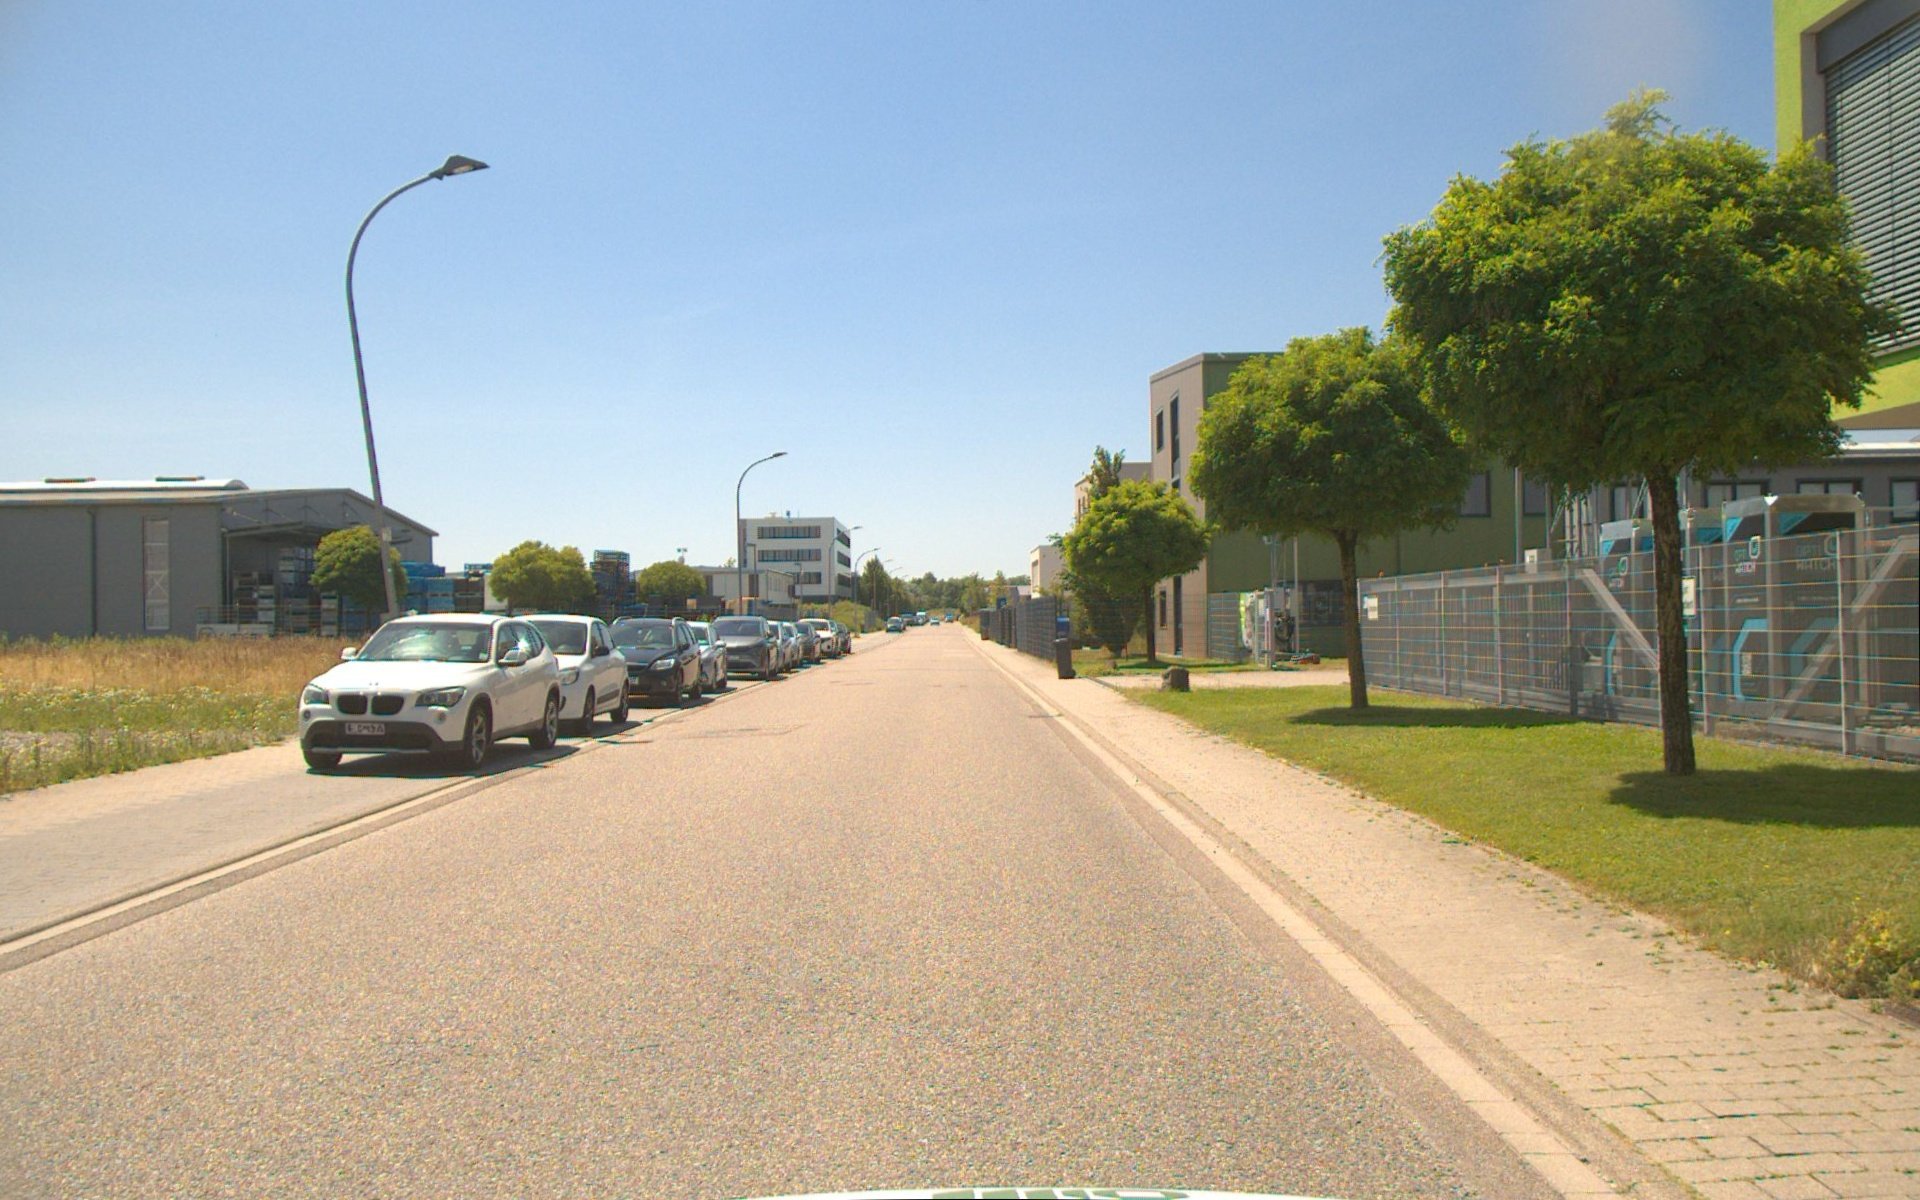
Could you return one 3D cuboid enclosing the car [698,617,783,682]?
[{"bbox_3d":[-5.756,1.268,43.818,1.754,1.635,4.461,0,-1,-1],"label":"car"}]

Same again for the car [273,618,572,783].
[{"bbox_3d":[-5.656,0.984,18.002,1.750,1.569,4.365,0,-1,1],"label":"car"}]

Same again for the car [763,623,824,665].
[{"bbox_3d":[-6.051,1.585,60.447,1.819,1.507,4.228,0,-1,-1],"label":"car"}]

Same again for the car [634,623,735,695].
[{"bbox_3d":[-5.946,1.242,36.098,1.728,1.476,4.197,0,-1,-3],"label":"car"}]

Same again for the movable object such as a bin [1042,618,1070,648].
[{"bbox_3d":[4.955,1.718,85.385,1.307,1.485,0.948,-2,-1,-1],"label":"movable object such as a bin"}]

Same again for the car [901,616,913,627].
[{"bbox_3d":[-7.356,3.006,230.060,1.611,1.516,3.207,-1,-1,0],"label":"car"}]

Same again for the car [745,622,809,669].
[{"bbox_3d":[-6.091,1.481,55.498,1.739,1.507,4.814,0,-1,-1],"label":"car"}]

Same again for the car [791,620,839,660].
[{"bbox_3d":[-6.022,1.663,69.147,1.733,1.620,4.358,0,-1,-2],"label":"car"}]

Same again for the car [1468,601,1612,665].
[{"bbox_3d":[14.443,0.779,41.494,1.953,1.464,4.611,-1,0,0],"label":"car"}]

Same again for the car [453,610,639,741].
[{"bbox_3d":[-5.717,0.995,23.256,1.751,1.685,3.767,0,-1,-2],"label":"car"}]

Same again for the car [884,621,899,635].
[{"bbox_3d":[-7.210,2.948,175.080,1.437,1.516,3.207,-1,-1,0],"label":"car"}]

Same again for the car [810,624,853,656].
[{"bbox_3d":[-6.211,1.915,80.313,1.733,1.487,4.332,0,-1,-1],"label":"car"}]

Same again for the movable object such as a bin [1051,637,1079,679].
[{"bbox_3d":[2.462,1.364,38.912,0.540,0.944,0.522,-5,-1,9],"label":"movable object such as a bin"}]

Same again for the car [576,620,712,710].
[{"bbox_3d":[-5.708,1.133,30.352,1.727,1.544,4.379,0,-1,-1],"label":"car"}]

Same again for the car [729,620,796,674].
[{"bbox_3d":[-5.922,1.398,50.012,1.659,1.552,3.734,0,-1,-1],"label":"car"}]
